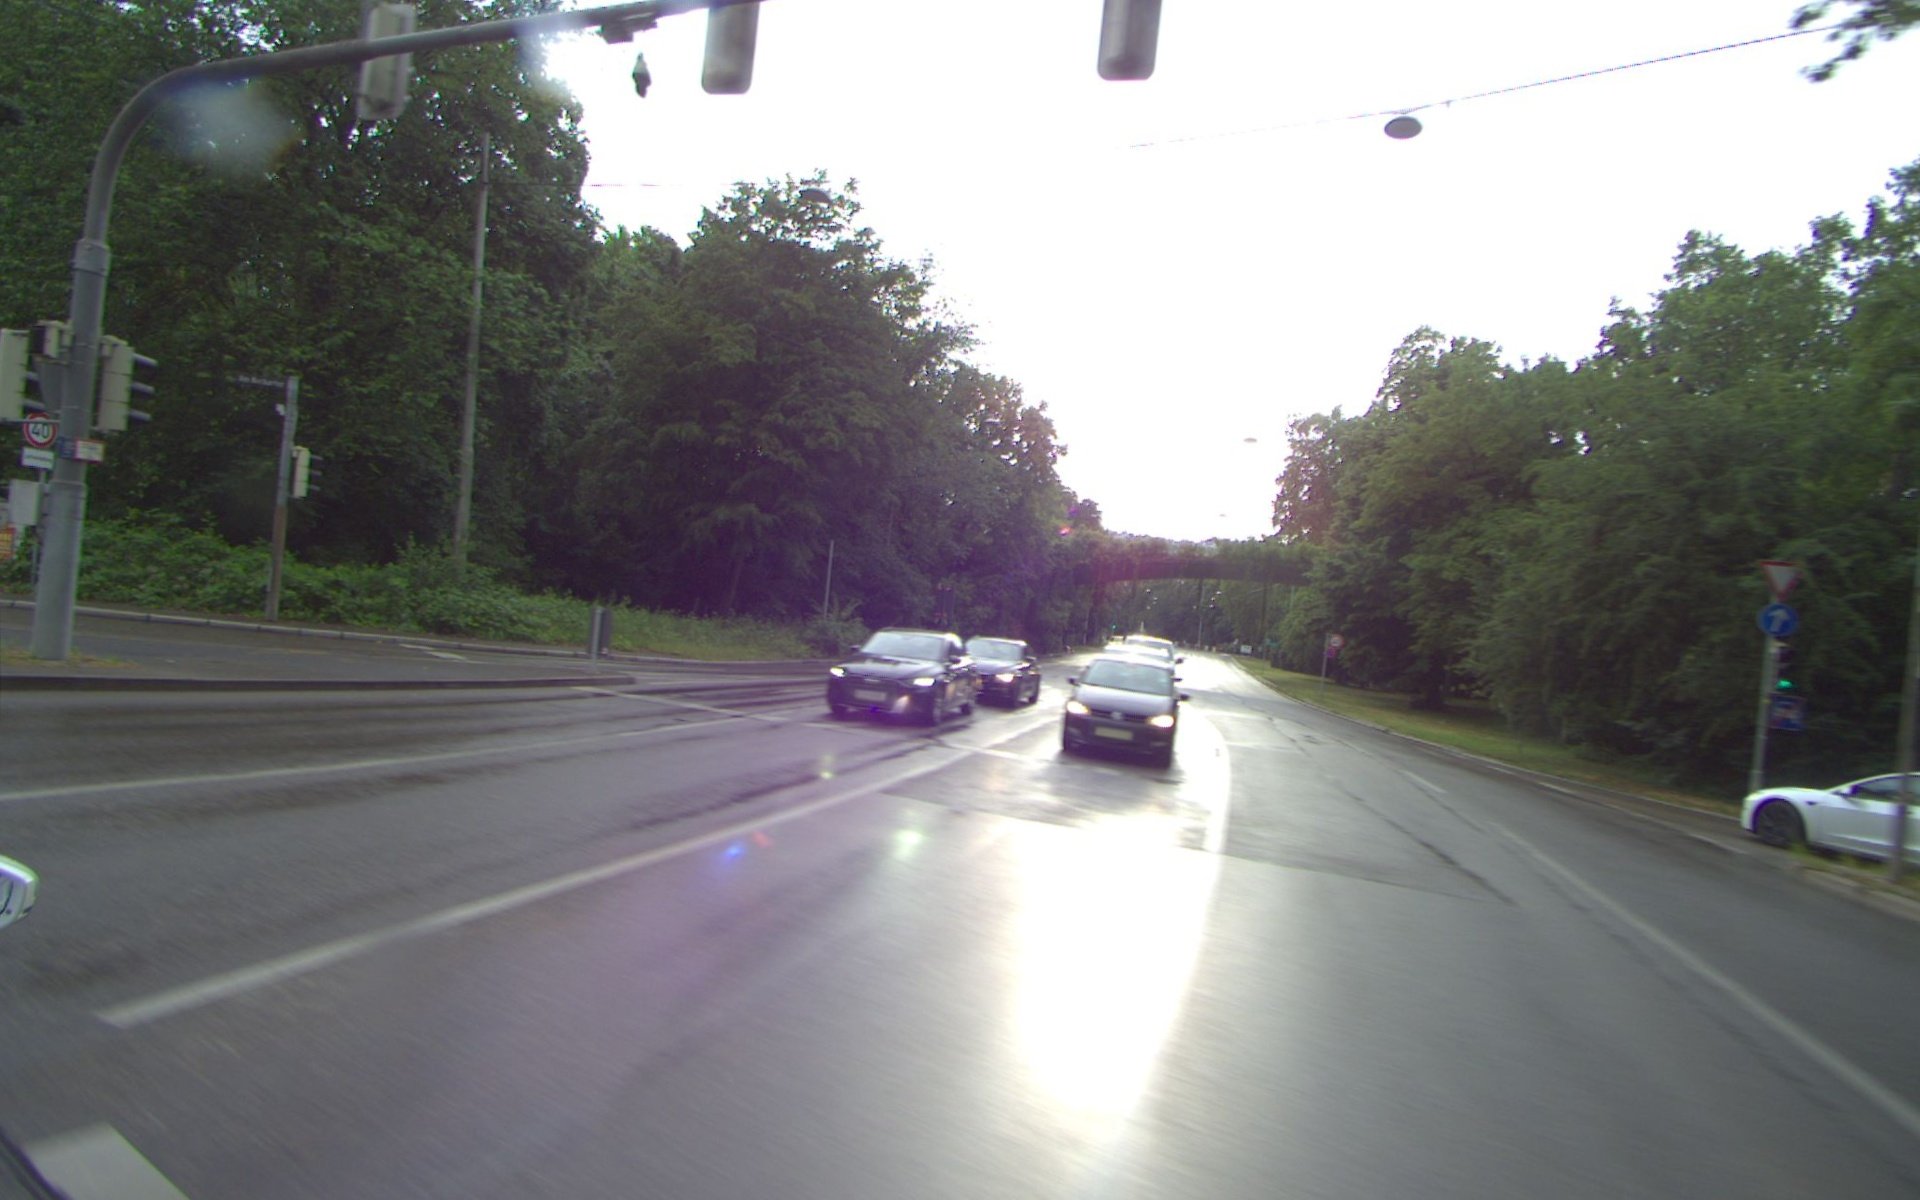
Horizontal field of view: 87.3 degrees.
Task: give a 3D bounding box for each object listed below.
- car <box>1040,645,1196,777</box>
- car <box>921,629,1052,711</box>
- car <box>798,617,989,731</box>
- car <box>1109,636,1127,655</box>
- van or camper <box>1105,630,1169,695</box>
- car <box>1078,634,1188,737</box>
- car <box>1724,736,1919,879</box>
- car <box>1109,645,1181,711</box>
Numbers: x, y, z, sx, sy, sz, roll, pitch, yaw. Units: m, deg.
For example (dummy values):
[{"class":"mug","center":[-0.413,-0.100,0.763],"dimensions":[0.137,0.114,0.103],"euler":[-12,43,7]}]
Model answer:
[{"class":"car","center":[2.527,1.538,15.212],"dimensions":[1.759,1.478,4.203],"euler":[7,-1,15]},{"class":"car","center":[0.715,1.545,22.408],"dimensions":[1.795,1.418,4.452],"euler":[7,-2,15]},{"class":"car","center":[-0.926,1.157,16.658],"dimensions":[1.913,1.458,4.216],"euler":[5,-1,13]},{"class":"car","center":[19.847,5.677,126.043],"dimensions":[1.849,1.996,3.894],"euler":[7,-3,12]},{"class":"van or camper","center":[6.608,2.333,37.218],"dimensions":[1.871,1.969,4.873],"euler":[8,-2,13]},{"class":"car","center":[3.749,1.716,21.241],"dimensions":[1.871,1.700,4.213],"euler":[7,-1,13]},{"class":"car","center":[12.957,2.886,13.056],"dimensions":[1.829,1.465,4.606],"euler":[7,-1,-15]},{"class":"car","center":[5.106,2.176,27.676],"dimensions":[1.626,1.477,3.872],"euler":[7,-4,12]}]
